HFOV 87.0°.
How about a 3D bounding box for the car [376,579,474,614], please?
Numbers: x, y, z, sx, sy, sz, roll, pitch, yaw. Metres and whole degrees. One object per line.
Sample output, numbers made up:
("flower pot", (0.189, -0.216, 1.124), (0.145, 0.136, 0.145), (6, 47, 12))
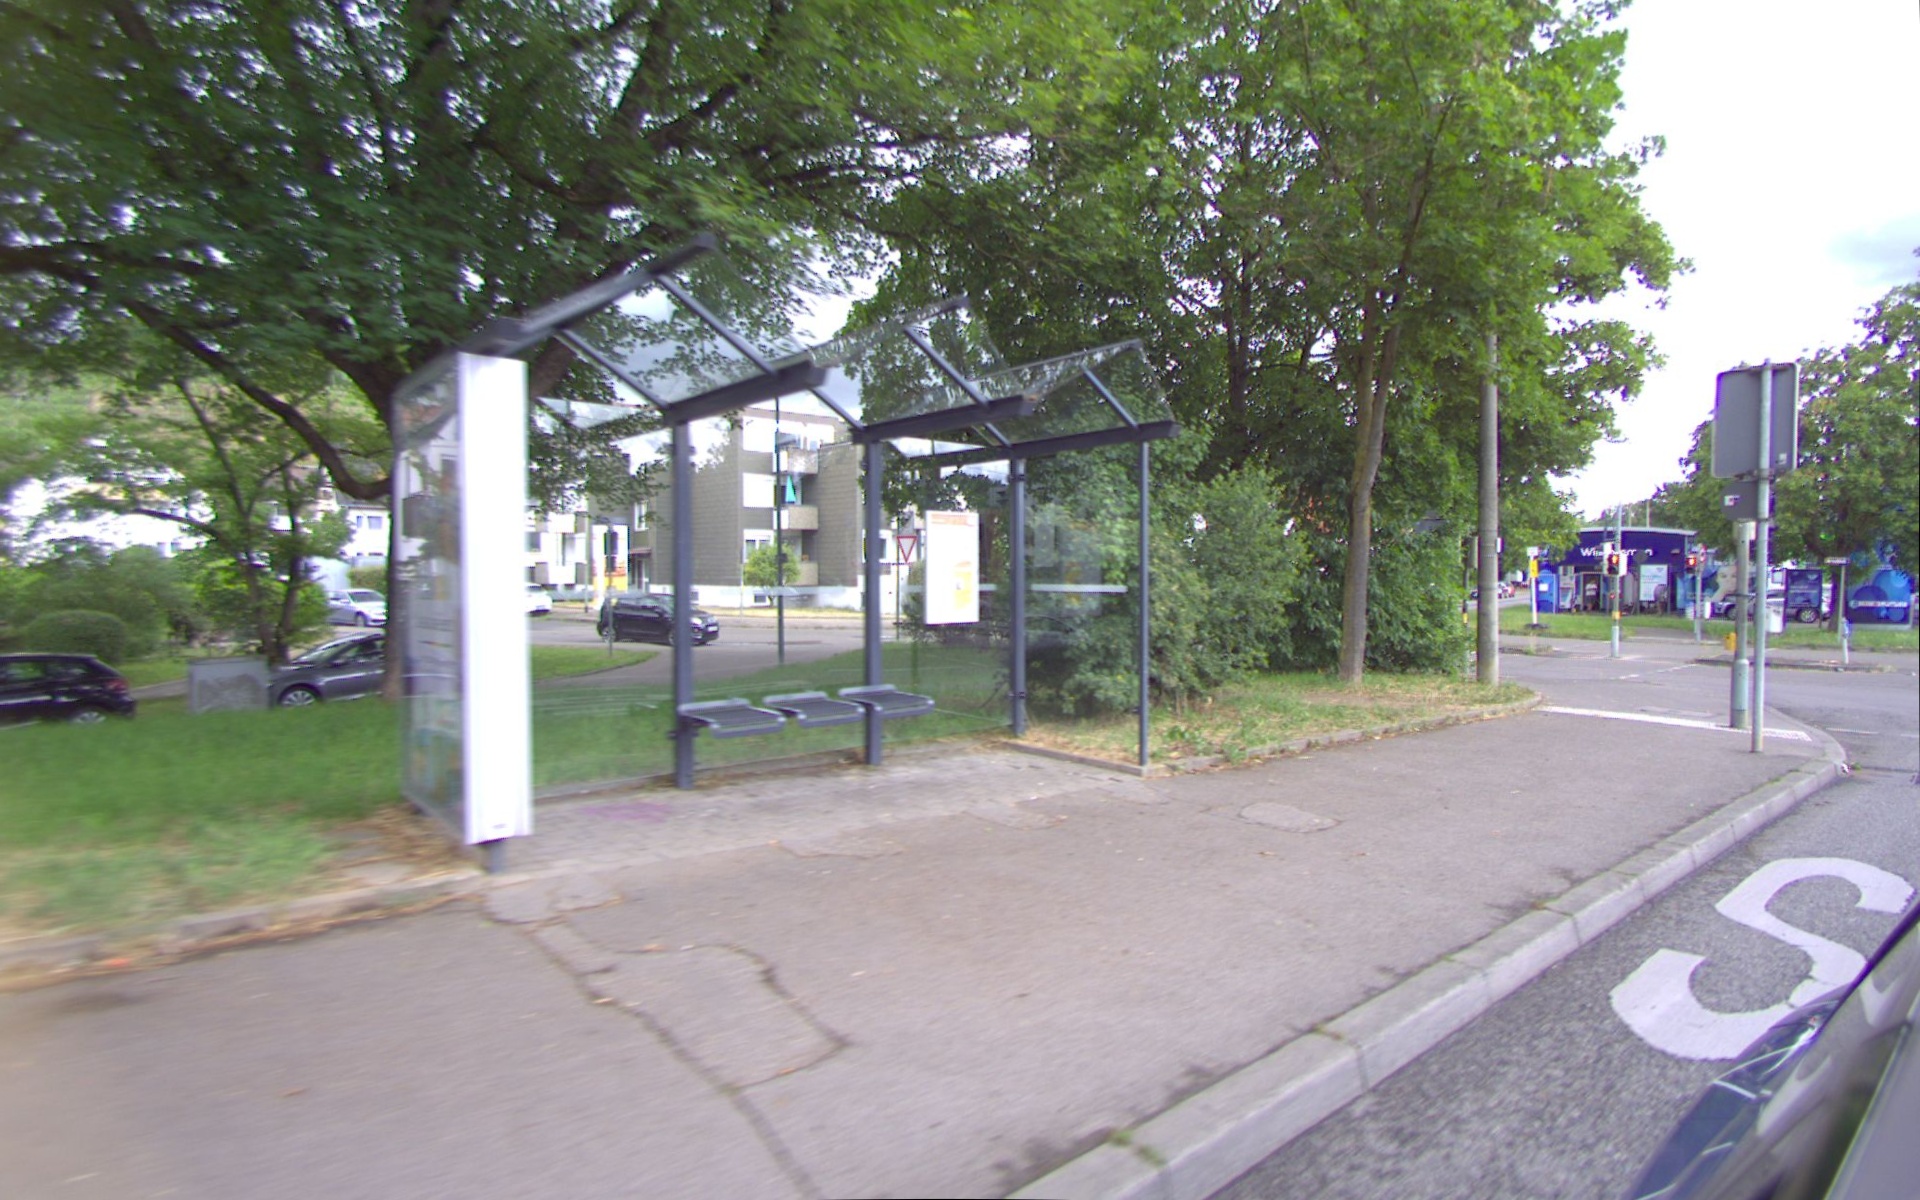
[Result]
("car", (-25.250, -0.183, 47.788), (3.951, 1.537, 1.986), (1, 1, 21))

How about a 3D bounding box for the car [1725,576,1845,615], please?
("car", (39.185, -0.248, 48.211), (4.182, 1.718, 1.819), (2, 2, 33))

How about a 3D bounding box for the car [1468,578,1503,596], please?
("car", (47.081, -1.154, 90.666), (1.990, 1.483, 3.943), (-2, 0, 40))

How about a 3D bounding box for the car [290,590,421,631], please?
("car", (-23.280, 0.395, 39.000), (4.412, 1.444, 1.987), (-1, 0, 20))

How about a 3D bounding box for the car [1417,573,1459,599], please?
("car", (36.446, -1.078, 77.115), (1.938, 1.866, 4.404), (-2, 0, 39))

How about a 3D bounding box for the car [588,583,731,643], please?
("car", (-9.594, 0.425, 32.416), (3.943, 1.788, 1.990), (-1, 0, 16))

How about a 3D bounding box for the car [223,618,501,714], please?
("car", (-11.160, 1.149, 19.159), (1.656, 1.480, 4.231), (-2, 0, 38))

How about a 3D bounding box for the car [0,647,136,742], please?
("car", (-14.708, 1.435, 14.851), (1.618, 1.262, 3.805), (-2, 0, 38))

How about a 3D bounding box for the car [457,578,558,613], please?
("car", (-20.336, -0.223, 45.506), (3.951, 1.537, 1.986), (1, 1, 21))
